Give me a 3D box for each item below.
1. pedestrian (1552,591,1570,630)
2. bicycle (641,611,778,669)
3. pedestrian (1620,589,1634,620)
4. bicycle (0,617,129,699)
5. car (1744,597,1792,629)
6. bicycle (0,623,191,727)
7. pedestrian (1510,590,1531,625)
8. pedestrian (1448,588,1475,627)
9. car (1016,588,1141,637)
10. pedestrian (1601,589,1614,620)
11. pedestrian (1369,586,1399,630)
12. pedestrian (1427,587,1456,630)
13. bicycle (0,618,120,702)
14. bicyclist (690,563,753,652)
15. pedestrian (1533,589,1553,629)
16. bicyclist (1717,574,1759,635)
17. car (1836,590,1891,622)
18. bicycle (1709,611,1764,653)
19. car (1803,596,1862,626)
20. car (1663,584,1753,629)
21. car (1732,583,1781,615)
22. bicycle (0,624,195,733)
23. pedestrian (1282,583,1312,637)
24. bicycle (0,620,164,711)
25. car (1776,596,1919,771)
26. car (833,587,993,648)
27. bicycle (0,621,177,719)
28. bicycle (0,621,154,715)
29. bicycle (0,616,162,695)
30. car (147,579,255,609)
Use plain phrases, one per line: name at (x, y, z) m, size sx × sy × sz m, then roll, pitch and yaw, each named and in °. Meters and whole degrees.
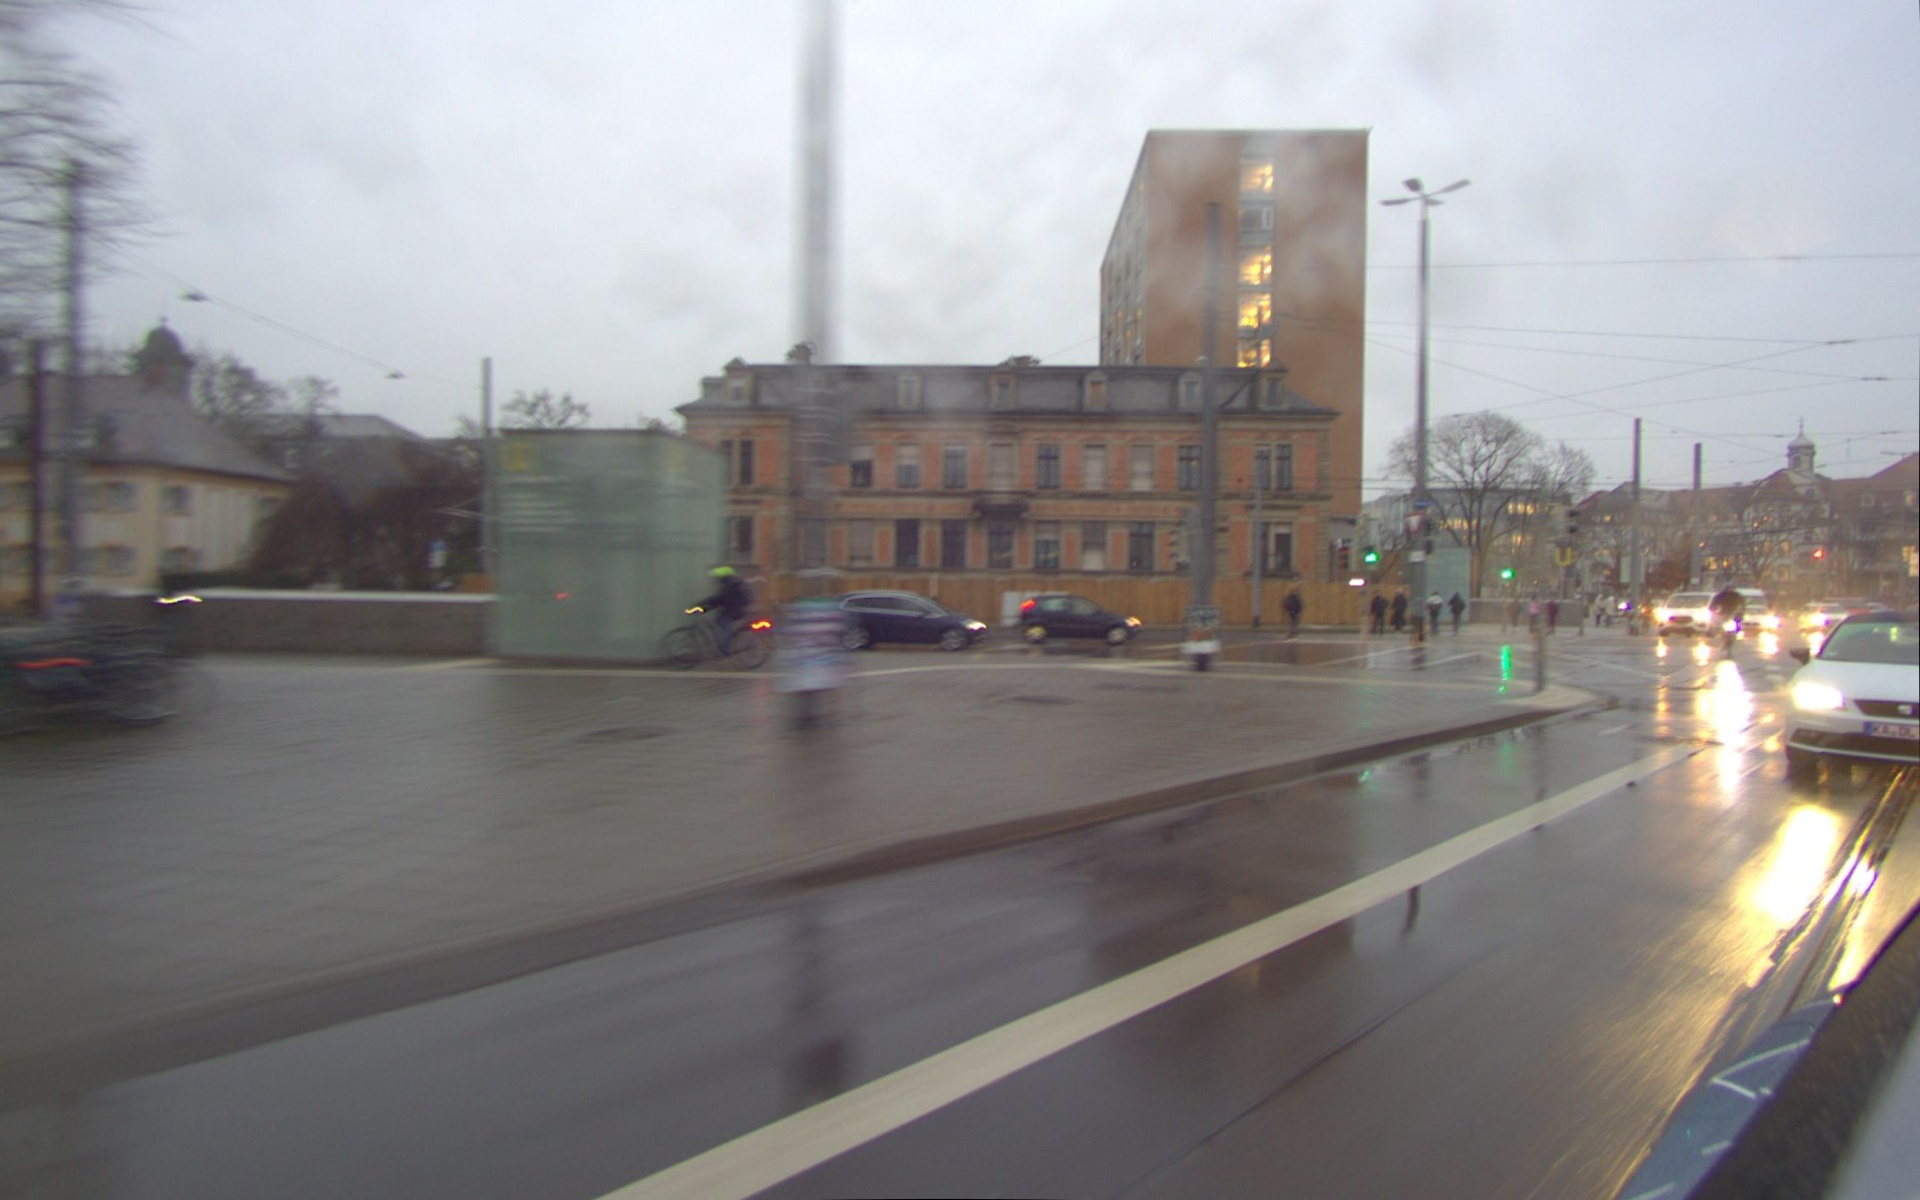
pedestrian at (27.524, 0.483, 46.361) m, size 0.503 × 1.784 × 0.636 m, roll 0°, pitch 0°, yaw 14°
bicycle at (-4.192, 0.649, 16.982) m, size 2.193 × 0.918 × 0.601 m, roll 0°, pitch 0°, yaw -17°
pedestrian at (38.282, 0.245, 58.096) m, size 0.634 × 1.784 × 0.504 m, roll 1°, pitch 0°, yaw 35°
bicycle at (-11.604, 0.711, 12.618) m, size 1.910 × 0.965 × 0.455 m, roll 0°, pitch 0°, yaw -41°
car at (41.528, 0.626, 52.073) m, size 1.818 × 1.527 × 3.753 m, roll 1°, pitch 1°, yaw 37°
bicycle at (-8.990, 0.735, 10.225) m, size 1.910 × 0.965 × 0.455 m, roll 0°, pitch 0°, yaw -41°
pedestrian at (26.372, 0.350, 47.612) m, size 0.699 × 1.639 × 0.746 m, roll 0°, pitch 0°, yaw 14°
pedestrian at (21.492, 0.313, 43.371) m, size 0.866 × 1.639 × 0.746 m, roll 0°, pitch 0°, yaw 14°
car at (3.622, 0.363, 31.002) m, size 3.685 × 1.419 × 1.616 m, roll -1°, pitch 0°, yaw 8°
pedestrian at (37.496, 0.240, 58.623) m, size 0.634 × 1.784 × 0.504 m, roll 1°, pitch 0°, yaw 35°
pedestrian at (16.460, 0.299, 39.309) m, size 0.734 × 1.697 × 0.820 m, roll 0°, pitch 0°, yaw -33°
pedestrian at (19.014, 0.323, 39.962) m, size 0.866 × 1.639 × 0.746 m, roll 0°, pitch 0°, yaw 14°
bicycle at (-11.334, 0.715, 12.148) m, size 1.910 × 0.965 × 0.455 m, roll 0°, pitch 0°, yaw -41°
bicyclist at (-4.014, 0.116, 17.026) m, size 0.986 × 1.460 × 0.593 m, roll 0°, pitch 0°, yaw -17°
pedestrian at (27.026, 0.424, 46.948) m, size 0.640 × 1.844 × 0.636 m, roll 0°, pitch 0°, yaw 14°
bicyclist at (20.295, 0.102, 26.406) m, size 0.771 × 1.553 × 0.727 m, roll 0°, pitch 0°, yaw -40°
car at (56.108, 0.337, 62.908) m, size 1.811 × 1.957 × 3.956 m, roll 1°, pitch 1°, yaw 31°
bicycle at (20.242, 0.808, 26.363) m, size 2.173 × 1.003 × 0.725 m, roll 0°, pitch 1°, yaw -41°
car at (49.055, 0.588, 56.956) m, size 1.810 × 1.594 × 3.957 m, roll 1°, pitch 1°, yaw 30°
car at (33.082, 0.256, 44.735) m, size 4.781 × 1.861 × 1.999 m, roll 0°, pitch 1°, yaw -38°
car at (47.675, -0.078, 60.663) m, size 2.006 × 1.842 × 3.644 m, roll 0°, pitch 1°, yaw 34°
bicycle at (-8.640, 0.738, 9.816) m, size 1.910 × 0.965 × 0.455 m, roll 0°, pitch 0°, yaw -41°
pedestrian at (10.420, 0.308, 31.321) m, size 0.808 × 1.639 × 0.745 m, roll 0°, pitch 0°, yaw 15°
bicycle at (-10.292, 0.723, 11.528) m, size 1.910 × 0.965 × 0.455 m, roll 0°, pitch 0°, yaw -41°
car at (9.442, 0.698, 9.792) m, size 3.931 × 1.441 × 1.796 m, roll 0°, pitch 1°, yaw -42°
car at (-1.275, 0.463, 28.543) m, size 4.310 × 1.608 × 1.888 m, roll 0°, pitch 1°, yaw 5°
bicycle at (-9.554, 0.728, 10.773) m, size 1.910 × 0.965 × 0.455 m, roll 0°, pitch 0°, yaw -41°
bicycle at (-10.024, 0.727, 11.039) m, size 1.910 × 0.965 × 0.455 m, roll 0°, pitch 0°, yaw -41°
bicycle at (-11.713, 0.701, 13.293) m, size 1.910 × 0.965 × 0.455 m, roll 0°, pitch 0°, yaw -41°
car at (-35.134, -0.297, 46.904) m, size 3.711 × 1.318 × 1.837 m, roll 1°, pitch 1°, yaw 4°
